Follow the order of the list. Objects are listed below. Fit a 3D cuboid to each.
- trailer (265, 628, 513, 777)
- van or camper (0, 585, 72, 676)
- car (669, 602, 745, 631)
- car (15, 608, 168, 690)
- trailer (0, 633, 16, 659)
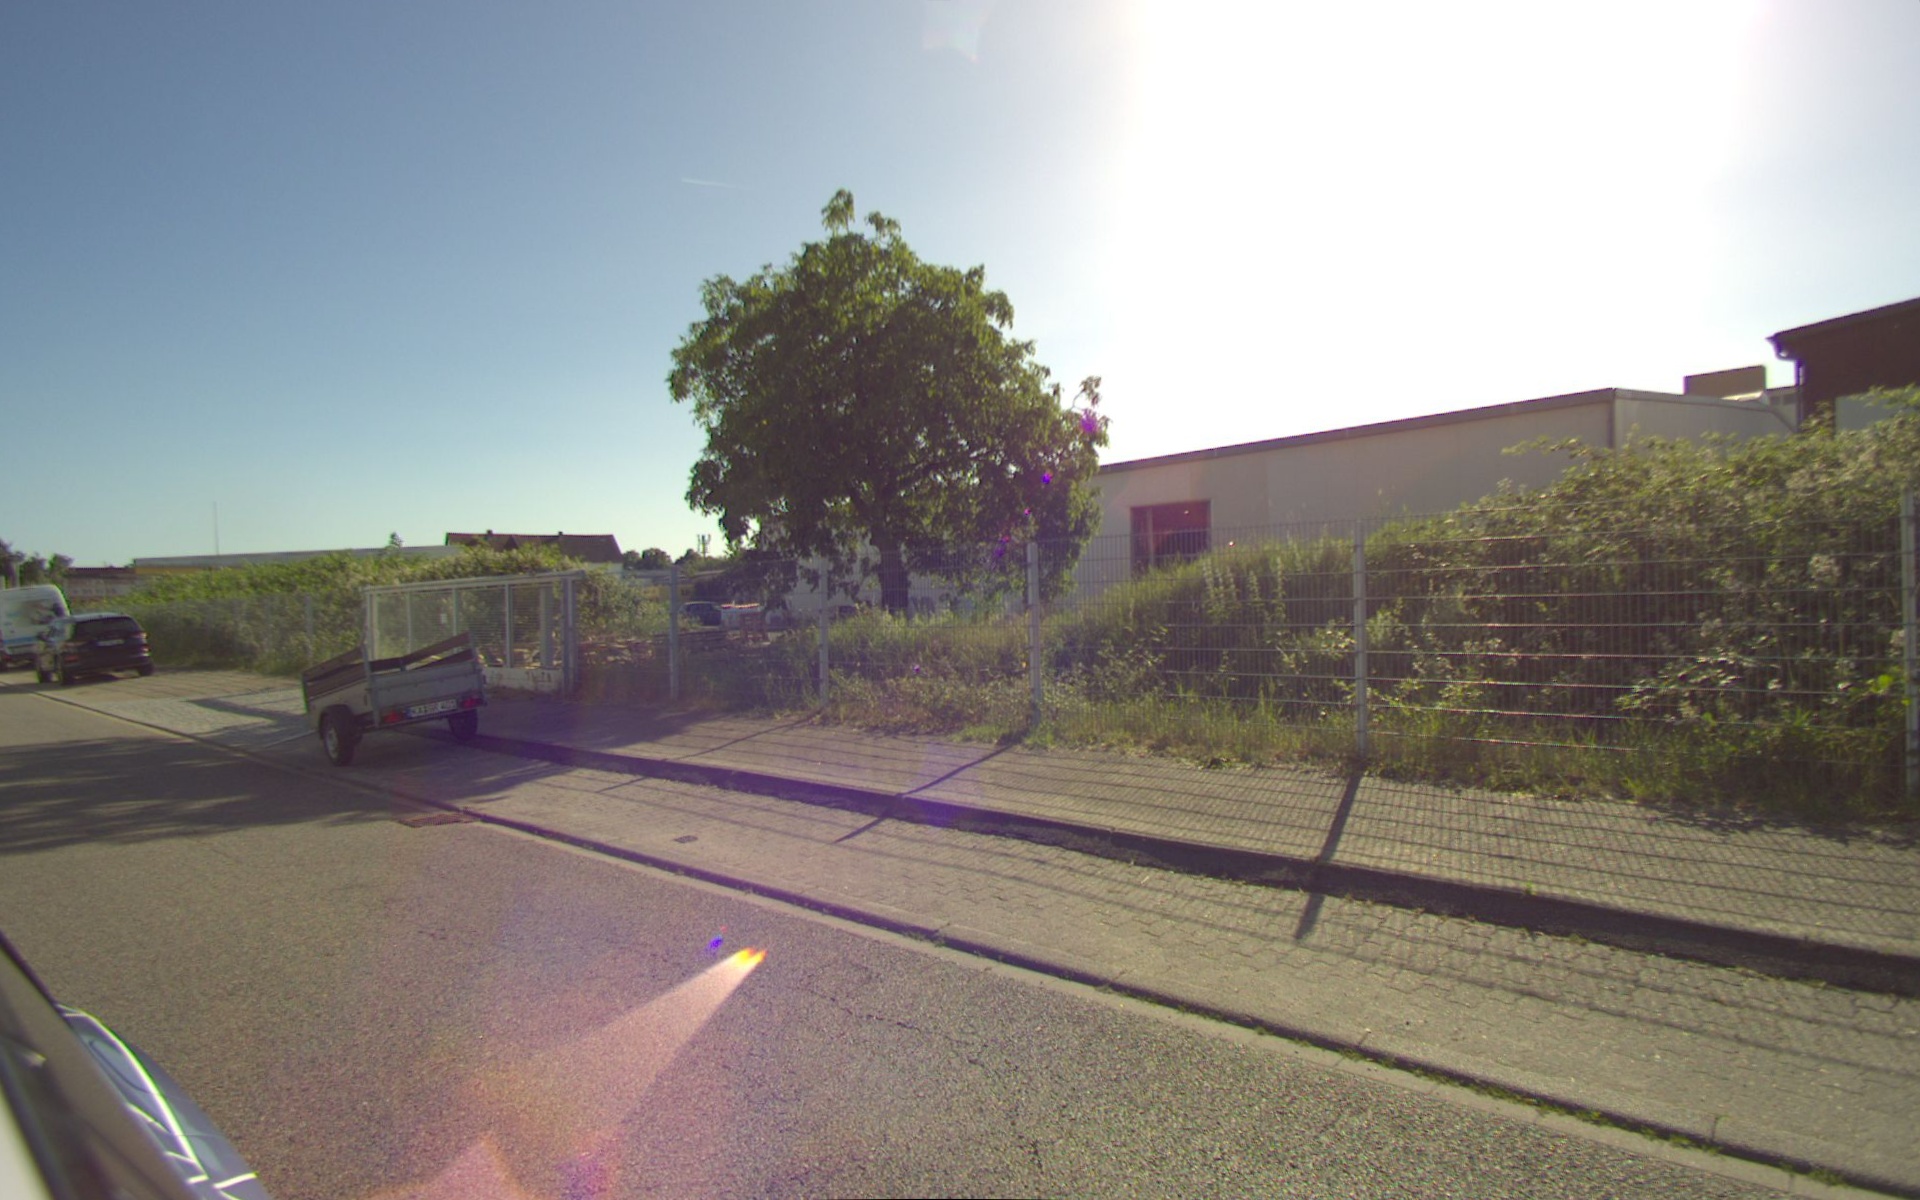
[{"bbox_3d":[-6.521,1.046,11.458,3.077,1.364,1.461,-2,2,41],"label":"trailer"},{"bbox_3d":[-31.884,1.049,34.226,5.947,2.704,1.946,-2,5,43],"label":"van or camper"},{"bbox_3d":[-15.330,0.998,61.380,4.103,1.586,1.853,-2,0,-36],"label":"car"},{"bbox_3d":[-22.188,1.217,25.782,5.102,1.706,2.011,-2,4,40],"label":"car"},{"bbox_3d":[-45.948,2.277,47.014,6.241,1.088,2.352,-3,3,41],"label":"trailer"}]
